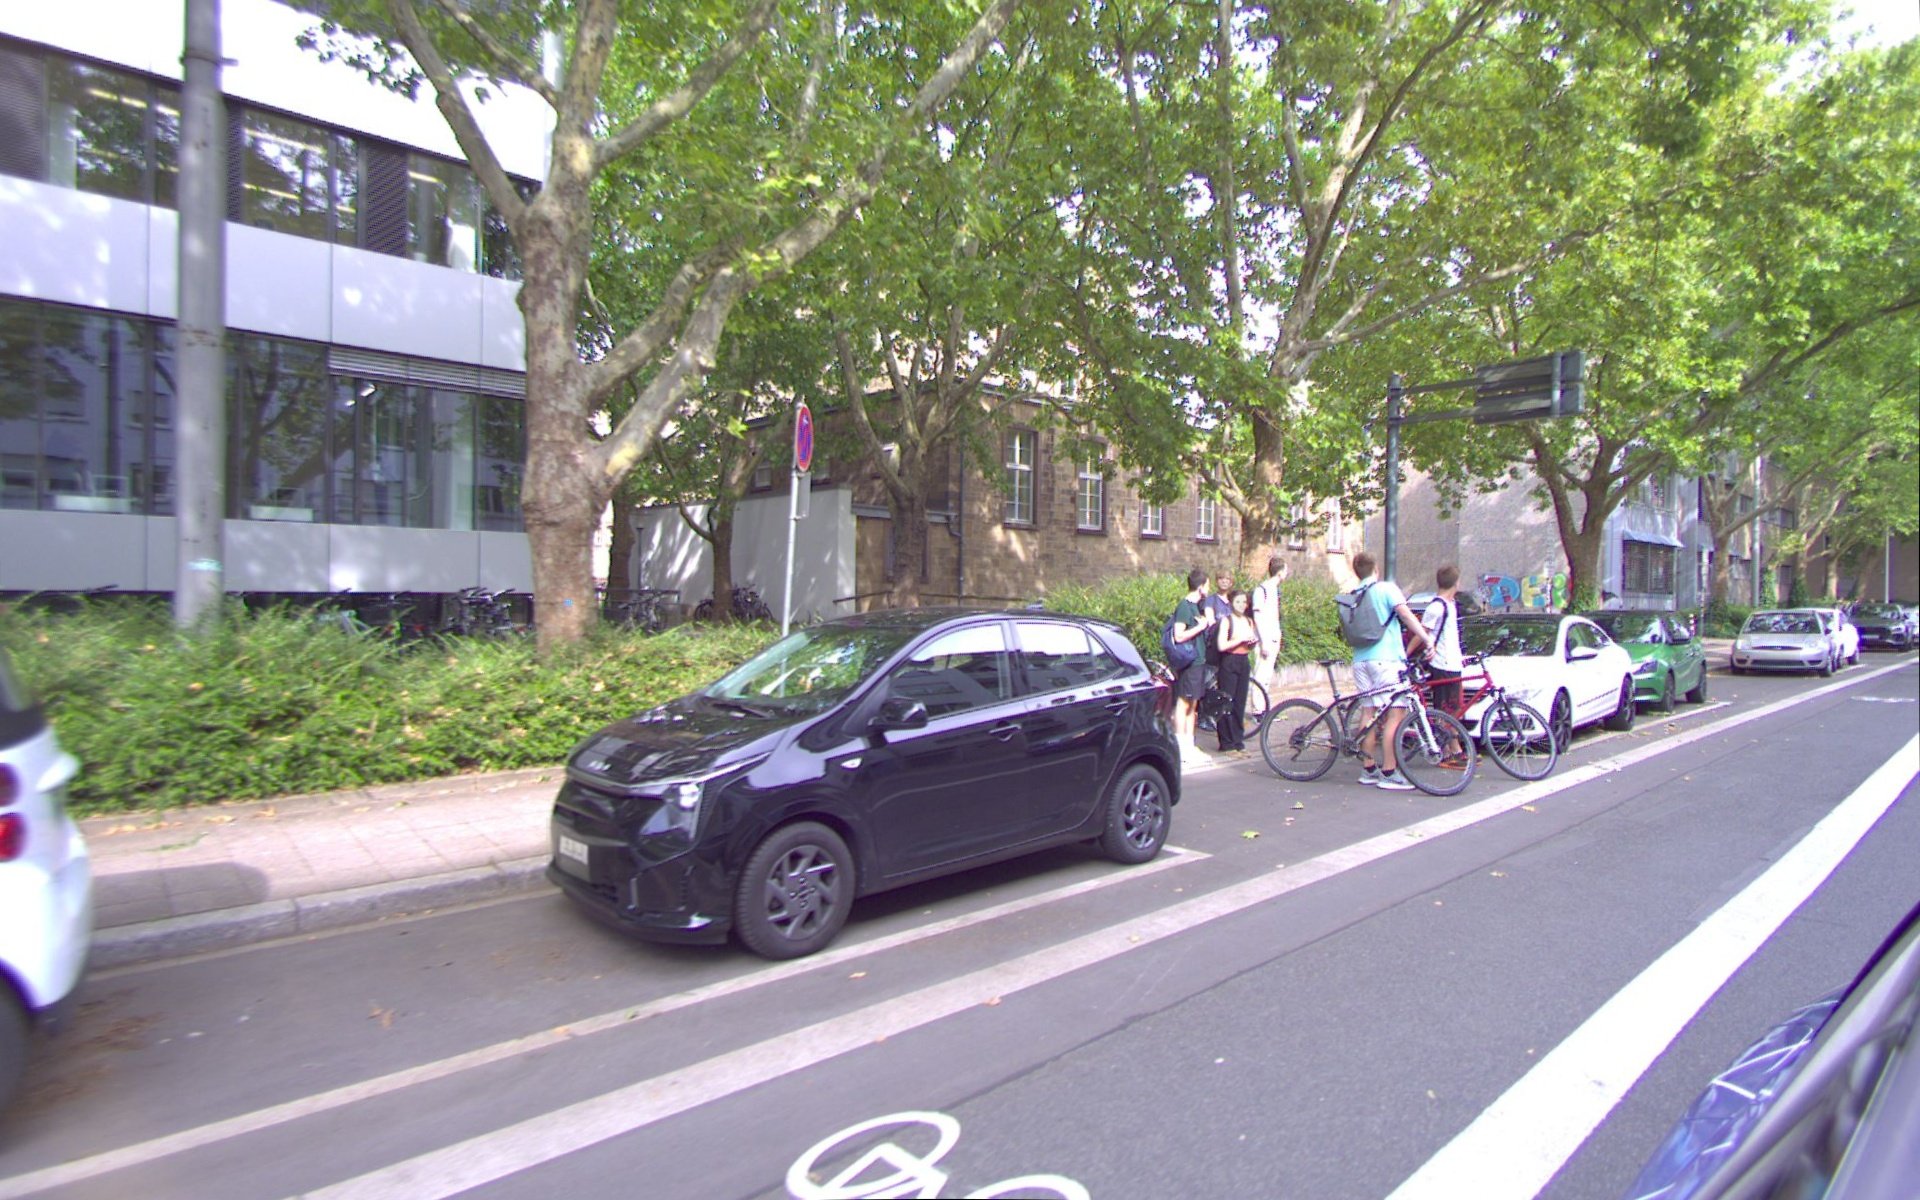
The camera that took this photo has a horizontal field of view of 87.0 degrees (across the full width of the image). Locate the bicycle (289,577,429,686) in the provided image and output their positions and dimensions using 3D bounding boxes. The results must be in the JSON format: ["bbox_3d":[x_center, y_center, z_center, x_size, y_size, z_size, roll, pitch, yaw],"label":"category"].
[{"bbox_3d":[-6.844,0.326,11.505,1.685,1.131,0.616,2,1,30],"label":"bicycle"}]

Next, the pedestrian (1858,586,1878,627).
[{"bbox_3d":[40.782,0.286,45.468,0.518,1.806,0.502,0,4,-42],"label":"pedestrian"}]

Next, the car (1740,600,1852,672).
[{"bbox_3d":[18.741,0.745,22.628,1.642,1.466,3.821,-1,-1,44],"label":"car"}]

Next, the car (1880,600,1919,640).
[{"bbox_3d":[36.115,0.739,38.142,4.494,1.451,1.642,0,-1,-42],"label":"car"}]

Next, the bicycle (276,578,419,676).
[{"bbox_3d":[-7.521,0.311,12.467,0.491,1.131,1.415,2,1,43],"label":"bicycle"}]

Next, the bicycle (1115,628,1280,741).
[{"bbox_3d":[2.622,0.902,11.285,1.763,1.146,0.456,0,-1,38],"label":"bicycle"}]

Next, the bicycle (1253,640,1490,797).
[{"bbox_3d":[3.357,0.914,8.342,1.731,1.119,0.545,0,-1,38],"label":"bicycle"}]

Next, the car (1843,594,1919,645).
[{"bbox_3d":[31.760,0.651,34.625,4.406,1.642,1.922,0,-1,-43],"label":"car"}]

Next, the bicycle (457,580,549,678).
[{"bbox_3d":[-5.743,0.330,12.682,1.538,1.131,0.461,3,1,42],"label":"bicycle"}]

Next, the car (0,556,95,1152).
[{"bbox_3d":[-3.894,0.675,2.539,2.552,1.563,1.539,0,-1,-39],"label":"car"}]

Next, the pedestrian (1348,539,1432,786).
[{"bbox_3d":[3.605,0.491,8.467,0.473,1.959,0.734,-1,-1,37],"label":"pedestrian"}]

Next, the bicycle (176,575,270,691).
[{"bbox_3d":[-8.123,0.316,11.123,0.661,1.131,1.918,1,2,-41],"label":"bicycle"}]

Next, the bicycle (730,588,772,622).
[{"bbox_3d":[-5.888,0.124,28.450,0.499,0.889,1.624,-2,2,-36],"label":"bicycle"}]

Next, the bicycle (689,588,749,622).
[{"bbox_3d":[-6.907,0.133,29.054,1.594,0.889,0.478,-2,2,-36],"label":"bicycle"}]

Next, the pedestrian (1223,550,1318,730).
[{"bbox_3d":[3.662,0.449,11.943,0.737,2.023,0.794,0,-1,-42],"label":"pedestrian"}]

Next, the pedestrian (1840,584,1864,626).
[{"bbox_3d":[40.626,0.240,46.110,0.635,1.855,0.643,0,4,-42],"label":"pedestrian"}]

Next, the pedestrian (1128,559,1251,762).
[{"bbox_3d":[2.207,0.547,9.762,0.766,1.840,0.872,0,-1,-41],"label":"pedestrian"}]

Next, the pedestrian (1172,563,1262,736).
[{"bbox_3d":[2.915,0.538,11.475,0.691,1.878,0.722,0,-1,-42],"label":"pedestrian"}]

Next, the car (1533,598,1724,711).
[{"bbox_3d":[10.080,0.733,15.157,3.742,1.468,1.588,0,-2,-44],"label":"car"}]

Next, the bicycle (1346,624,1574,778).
[{"bbox_3d":[4.435,0.849,9.043,1.781,1.233,0.547,0,-1,32],"label":"bicycle"}]

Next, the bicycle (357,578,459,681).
[{"bbox_3d":[-6.612,0.325,12.106,1.373,1.131,0.505,2,1,34],"label":"bicycle"}]

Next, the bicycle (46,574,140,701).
[{"bbox_3d":[-8.744,0.325,10.207,0.661,1.131,1.918,1,2,-41],"label":"bicycle"}]

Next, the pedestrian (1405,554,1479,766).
[{"bbox_3d":[4.474,0.527,9.376,0.518,1.869,0.736,-1,-1,34],"label":"pedestrian"}]

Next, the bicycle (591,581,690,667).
[{"bbox_3d":[-4.613,0.313,14.538,1.674,1.131,0.595,3,2,43],"label":"bicycle"}]

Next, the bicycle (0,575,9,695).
[{"bbox_3d":[-9.719,0.331,9.798,0.661,1.131,1.918,1,2,-41],"label":"bicycle"}]

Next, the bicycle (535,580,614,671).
[{"bbox_3d":[-5.257,0.319,13.747,0.461,1.131,1.446,0,2,-44],"label":"bicycle"}]

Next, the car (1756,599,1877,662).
[{"bbox_3d":[21.904,0.734,25.827,4.145,1.466,1.757,0,-1,-41],"label":"car"}]

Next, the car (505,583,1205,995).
[{"bbox_3d":[-0.365,0.700,5.523,3.597,1.521,1.530,0,-1,-42],"label":"car"}]

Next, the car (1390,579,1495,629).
[{"bbox_3d":[15.797,0.151,33.050,4.225,1.468,1.670,3,-2,-43],"label":"car"}]

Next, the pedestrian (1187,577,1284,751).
[{"bbox_3d":[2.789,0.613,10.258,0.643,1.679,0.722,0,-1,-41],"label":"pedestrian"}]

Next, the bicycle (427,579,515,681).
[{"bbox_3d":[-5.916,0.335,12.216,1.377,1.131,0.461,3,1,42],"label":"bicycle"}]

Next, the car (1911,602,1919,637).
[{"bbox_3d":[43.277,0.835,44.568,4.363,1.524,1.601,0,-1,-42],"label":"car"}]

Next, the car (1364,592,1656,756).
[{"bbox_3d":[6.493,0.716,11.700,4.469,1.535,1.681,0,-2,-44],"label":"car"}]
